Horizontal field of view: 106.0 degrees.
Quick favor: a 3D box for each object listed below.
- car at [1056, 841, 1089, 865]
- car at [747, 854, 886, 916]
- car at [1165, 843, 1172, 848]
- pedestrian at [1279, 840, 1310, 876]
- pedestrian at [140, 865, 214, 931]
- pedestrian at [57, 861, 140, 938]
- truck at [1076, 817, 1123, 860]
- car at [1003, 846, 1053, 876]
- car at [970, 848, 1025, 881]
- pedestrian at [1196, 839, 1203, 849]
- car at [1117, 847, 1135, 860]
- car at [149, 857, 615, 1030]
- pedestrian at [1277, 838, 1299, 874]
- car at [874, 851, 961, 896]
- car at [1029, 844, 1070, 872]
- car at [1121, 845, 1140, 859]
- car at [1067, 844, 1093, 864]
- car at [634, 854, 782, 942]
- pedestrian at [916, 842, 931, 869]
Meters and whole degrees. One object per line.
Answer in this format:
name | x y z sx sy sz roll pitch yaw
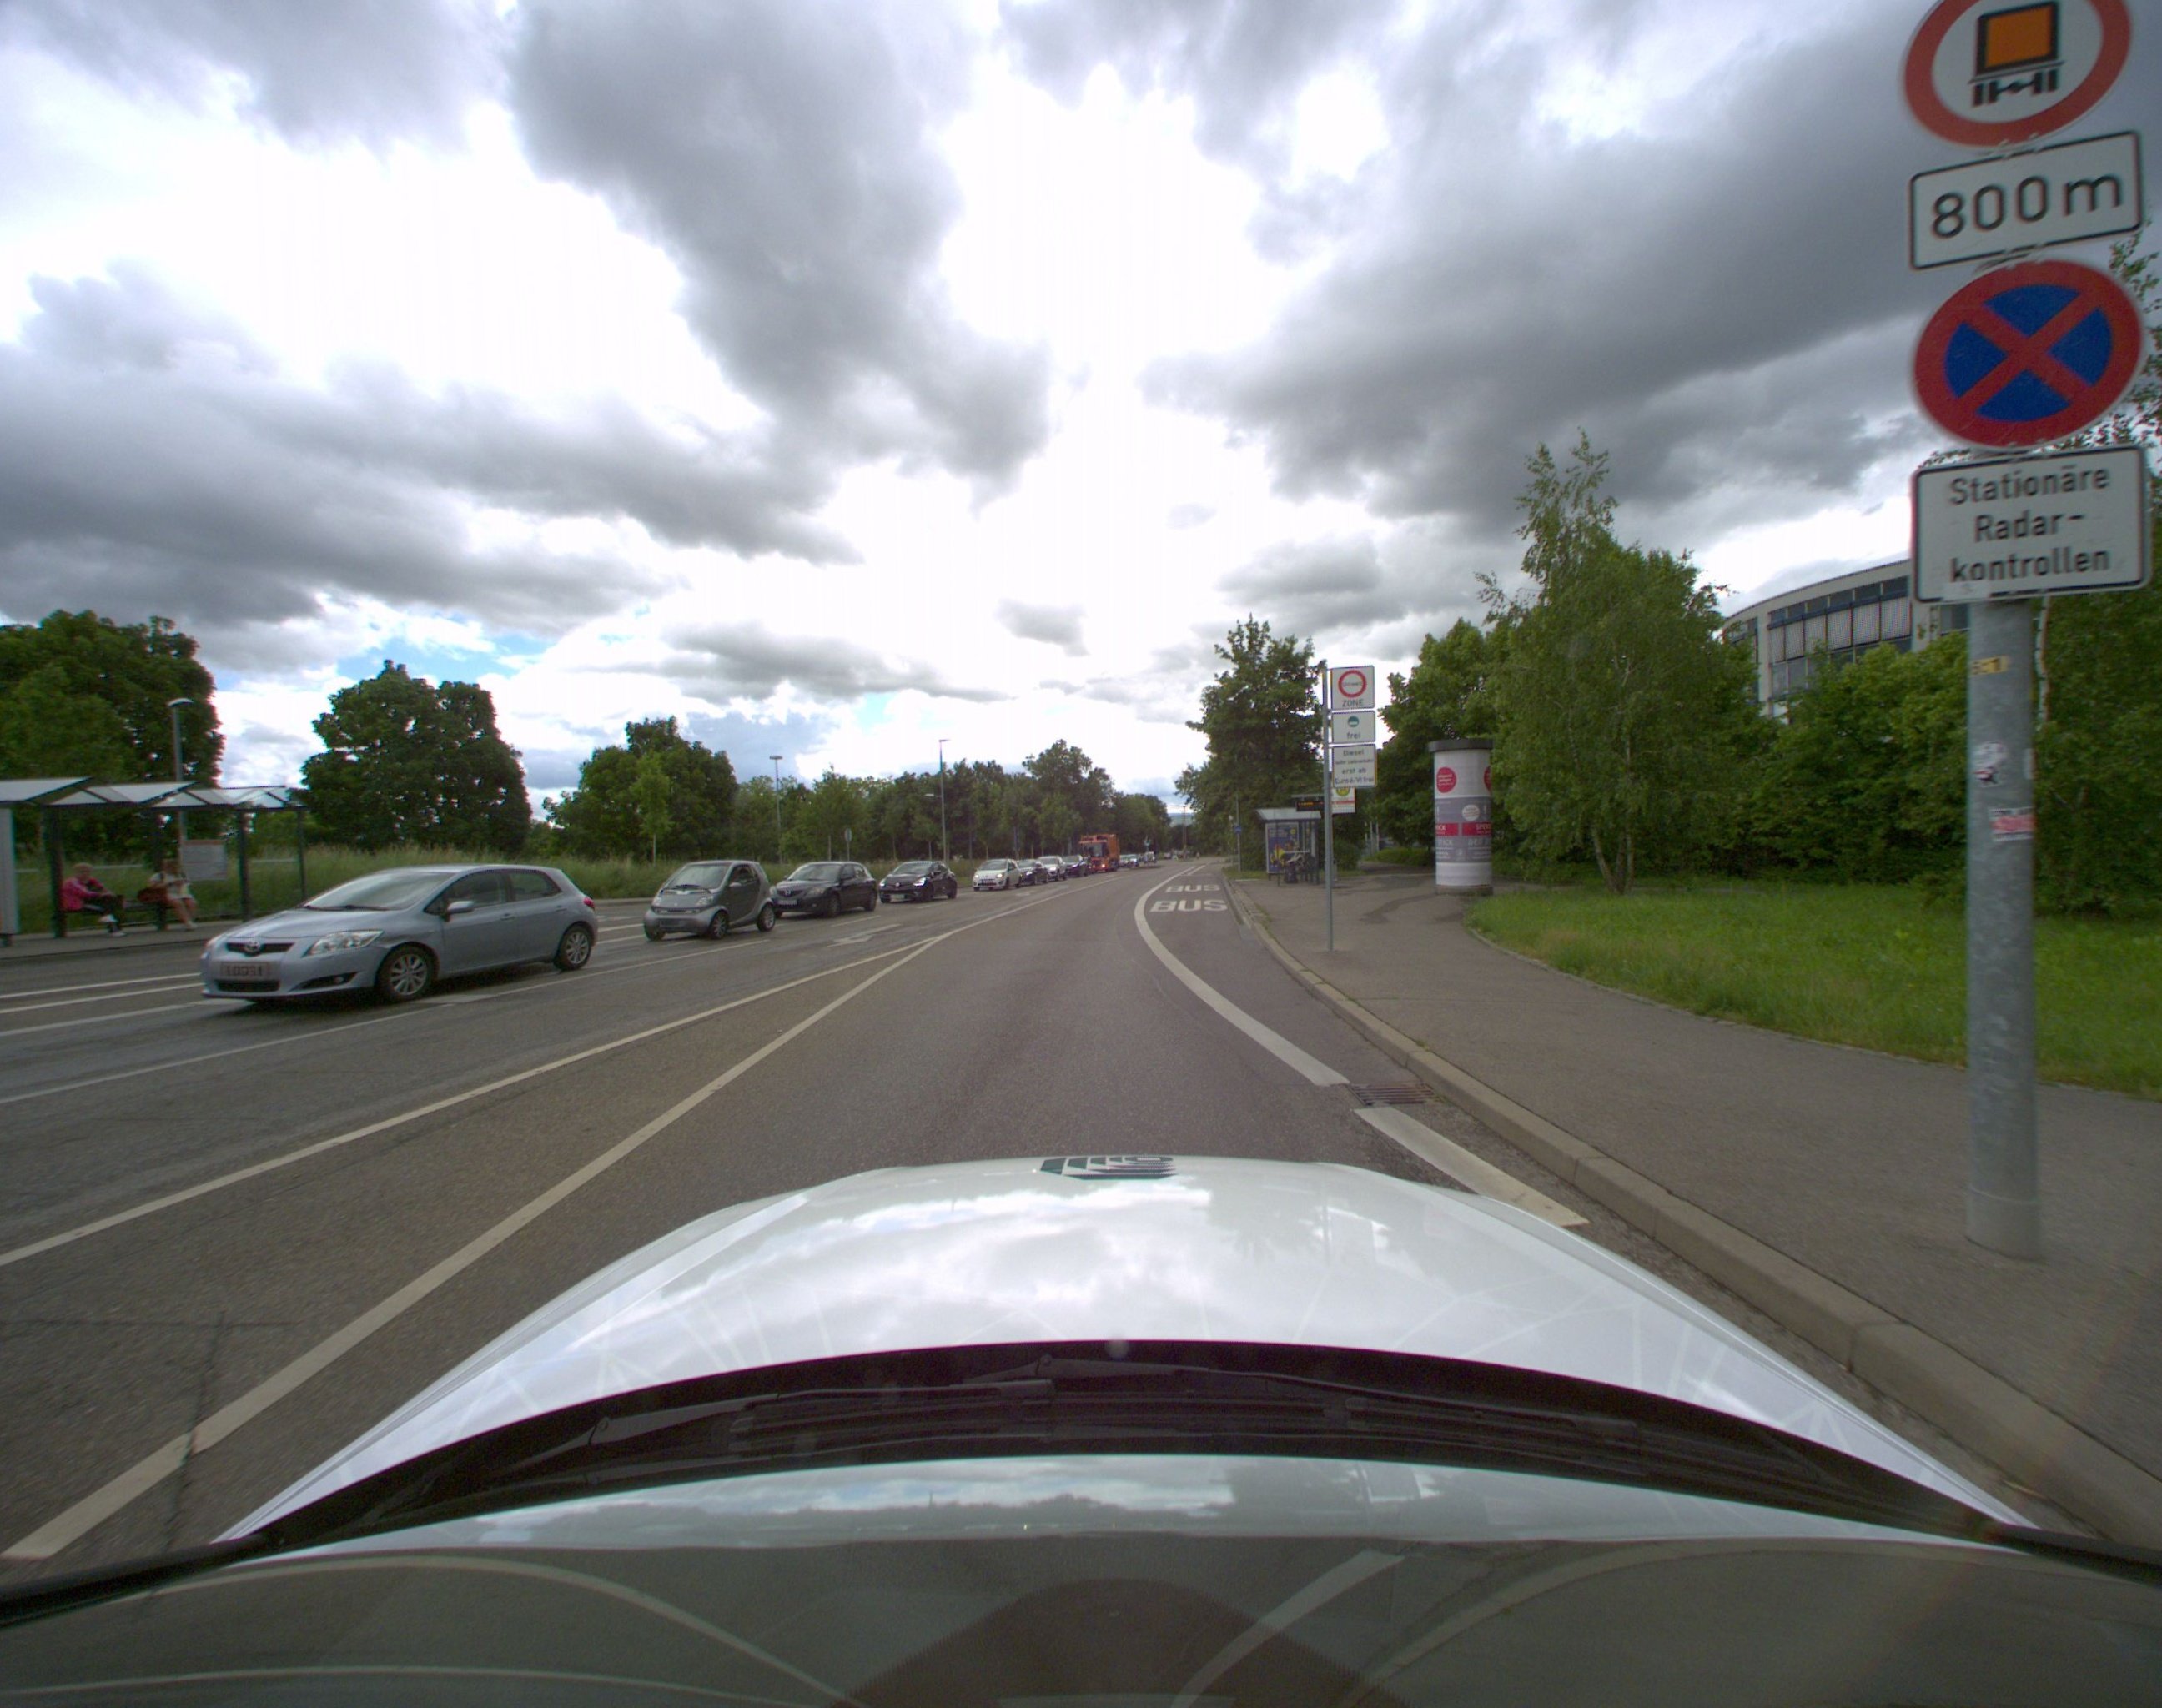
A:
car | -0.583 -0.074 59.294 1.630 1.585 4.072 -2 1 9
car | -6.989 0.756 22.065 1.789 1.332 4.391 -2 1 8
car | 24.139 -2.438 224.782 1.761 1.304 4.011 -2 1 9
pedestrian | 7.753 0.133 29.582 0.779 1.252 0.765 -3 1 -32
pedestrian | -17.810 0.854 16.050 0.769 1.226 0.551 -2 1 1
pedestrian | -17.894 0.820 14.845 0.769 1.330 0.551 -2 1 1
truck | 1.830 -1.444 74.150 2.689 3.486 10.024 -2 1 10
car | -2.847 0.338 44.814 1.630 1.390 4.898 -2 1 9
car | -3.952 0.464 39.067 1.630 1.390 3.773 -2 1 9
pedestrian | 17.936 -1.490 123.333 0.789 1.463 0.746 -3 0 -9
car | 5.083 -0.048 91.860 1.538 1.331 3.663 -5 0 9
car | -8.097 0.895 10.114 1.818 1.535 4.227 -2 1 5
pedestrian | 7.897 0.079 31.081 0.723 1.315 0.591 -2 1 11
car | -5.675 0.629 28.767 1.630 1.332 4.072 -2 1 9
car | -1.920 0.207 51.674 1.720 1.585 4.235 -2 1 9
car | 6.086 -0.273 99.677 1.835 1.520 4.827 -5 0 8
car | -0.055 -0.045 64.682 1.425 1.457 3.905 -2 1 9
car | -7.499 0.830 16.622 1.420 1.526 2.781 -2 1 7
pedestrian | -10.675 0.102 55.223 0.716 1.835 0.679 -3 1 10
